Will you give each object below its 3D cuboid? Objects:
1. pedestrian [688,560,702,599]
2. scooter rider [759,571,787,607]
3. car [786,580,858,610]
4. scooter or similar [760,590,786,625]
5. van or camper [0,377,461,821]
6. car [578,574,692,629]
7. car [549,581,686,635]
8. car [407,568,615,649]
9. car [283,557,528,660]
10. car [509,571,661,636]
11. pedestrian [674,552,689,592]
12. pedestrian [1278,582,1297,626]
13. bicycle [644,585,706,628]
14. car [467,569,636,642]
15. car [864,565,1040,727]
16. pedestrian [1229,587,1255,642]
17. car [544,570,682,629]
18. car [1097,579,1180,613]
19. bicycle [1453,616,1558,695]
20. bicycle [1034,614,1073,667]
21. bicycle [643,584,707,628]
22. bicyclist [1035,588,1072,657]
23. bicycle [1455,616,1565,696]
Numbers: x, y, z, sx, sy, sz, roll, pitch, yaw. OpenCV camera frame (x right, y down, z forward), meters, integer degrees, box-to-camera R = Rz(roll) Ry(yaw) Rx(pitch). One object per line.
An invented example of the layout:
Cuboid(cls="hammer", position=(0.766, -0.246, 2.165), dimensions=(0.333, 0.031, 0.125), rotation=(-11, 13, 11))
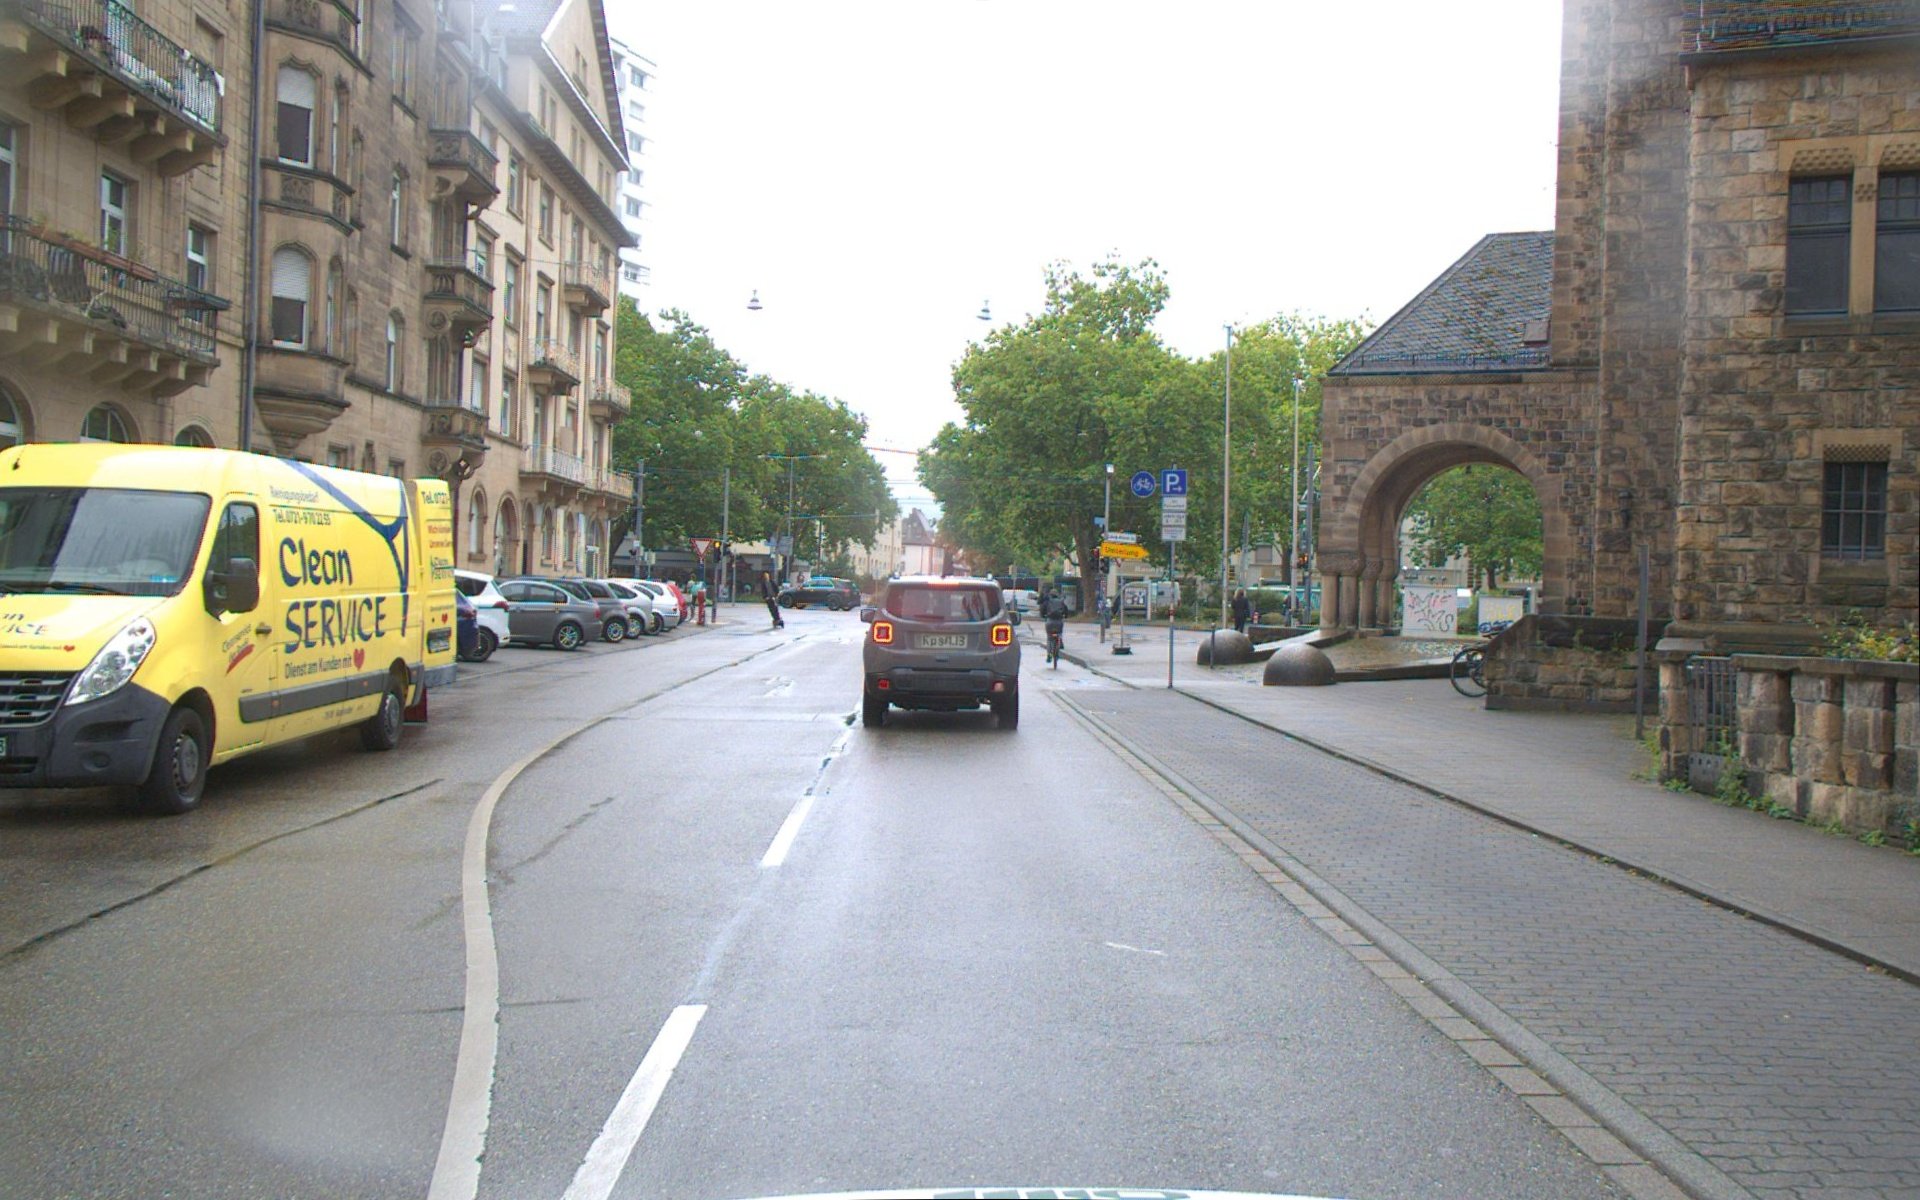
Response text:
Cuboid(cls="pedestrian", position=(-10.923, -0.838, 68.198), dimensions=(0.458, 1.613, 0.752), rotation=(1, 0, -2))
Cuboid(cls="scooter rider", position=(-6.745, -0.385, 59.698), dimensions=(0.862, 1.241, 0.983), rotation=(2, -2, -1))
Cuboid(cls="car", position=(-7.829, -0.295, 93.816), dimensions=(3.799, 1.639, 1.542), rotation=(1, 0, 19))
Cuboid(cls="scooter or similar", position=(-6.743, 0.287, 59.651), dimensions=(0.833, 1.233, 0.986), rotation=(1, -2, -1))
Cuboid(cls="van or camper", position=(-5.969, 0.113, 13.088), dimensions=(2.078, 2.575, 6.871), rotation=(-2, -2, -2))
Cuboid(cls="car", position=(-10.428, 0.042, 53.114), dimensions=(3.218, 1.586, 1.517), rotation=(3, -1, -35))
Cuboid(cls="car", position=(-9.753, 0.230, 47.206), dimensions=(3.384, 1.339, 1.758), rotation=(3, -1, -35))
Cuboid(cls="car", position=(-9.527, 0.197, 35.227), dimensions=(3.821, 1.505, 1.857), rotation=(3, -1, -42))
Cuboid(cls="car", position=(-9.603, 0.163, 28.745), dimensions=(3.626, 1.586, 1.776), rotation=(3, -1, -38))
Cuboid(cls="car", position=(-9.992, 0.097, 44.086), dimensions=(3.466, 1.544, 1.863), rotation=(3, -1, -35))
Cuboid(cls="pedestrian", position=(-11.440, -1.145, 67.971), dimensions=(0.458, 1.613, 0.659), rotation=(1, 0, -2))
Cuboid(cls="pedestrian", position=(13.268, 0.167, 67.001), dimensions=(0.667, 1.741, 0.693), rotation=(1, 0, 17))
Cuboid(cls="bicycle", position=(-9.913, 0.242, 57.614), dimensions=(2.063, 1.469, 0.487), rotation=(1, 0, -22))
Cuboid(cls="car", position=(-10.074, 0.150, 40.885), dimensions=(3.627, 1.586, 1.785), rotation=(3, -1, -38))
Cuboid(cls="car", position=(-0.175, 0.490, 19.978), dimensions=(1.860, 1.700, 4.503), rotation=(1, 0, -2))
Cuboid(cls="pedestrian", position=(8.917, 0.452, 52.324), dimensions=(0.677, 1.741, 0.684), rotation=(1, 0, -1))
Cuboid(cls="car", position=(-10.430, -0.013, 49.810), dimensions=(3.698, 1.586, 1.652), rotation=(3, -1, -35))
Cuboid(cls="car", position=(12.857, -0.305, 119.431), dimensions=(5.781, 2.375, 2.060), rotation=(1, 0, 2))
Cuboid(cls="bicycle", position=(8.097, 0.818, 24.555), dimensions=(1.456, 1.121, 0.363), rotation=(1, 0, 20))
Cuboid(cls="bicycle", position=(1.967, 0.840, 35.012), dimensions=(0.690, 1.072, 1.812), rotation=(1, 0, -1))
Cuboid(cls="bicycle", position=(-9.753, 0.216, 56.626), dimensions=(2.080, 1.469, 0.536), rotation=(1, 0, -22))
Cuboid(cls="bicyclist", position=(1.975, 0.461, 35.054), dimensions=(0.690, 1.428, 1.171), rotation=(1, 0, -1))
Cuboid(cls="bicycle", position=(8.025, 0.803, 24.145), dimensions=(1.491, 1.121, 0.363), rotation=(1, 0, 20))
